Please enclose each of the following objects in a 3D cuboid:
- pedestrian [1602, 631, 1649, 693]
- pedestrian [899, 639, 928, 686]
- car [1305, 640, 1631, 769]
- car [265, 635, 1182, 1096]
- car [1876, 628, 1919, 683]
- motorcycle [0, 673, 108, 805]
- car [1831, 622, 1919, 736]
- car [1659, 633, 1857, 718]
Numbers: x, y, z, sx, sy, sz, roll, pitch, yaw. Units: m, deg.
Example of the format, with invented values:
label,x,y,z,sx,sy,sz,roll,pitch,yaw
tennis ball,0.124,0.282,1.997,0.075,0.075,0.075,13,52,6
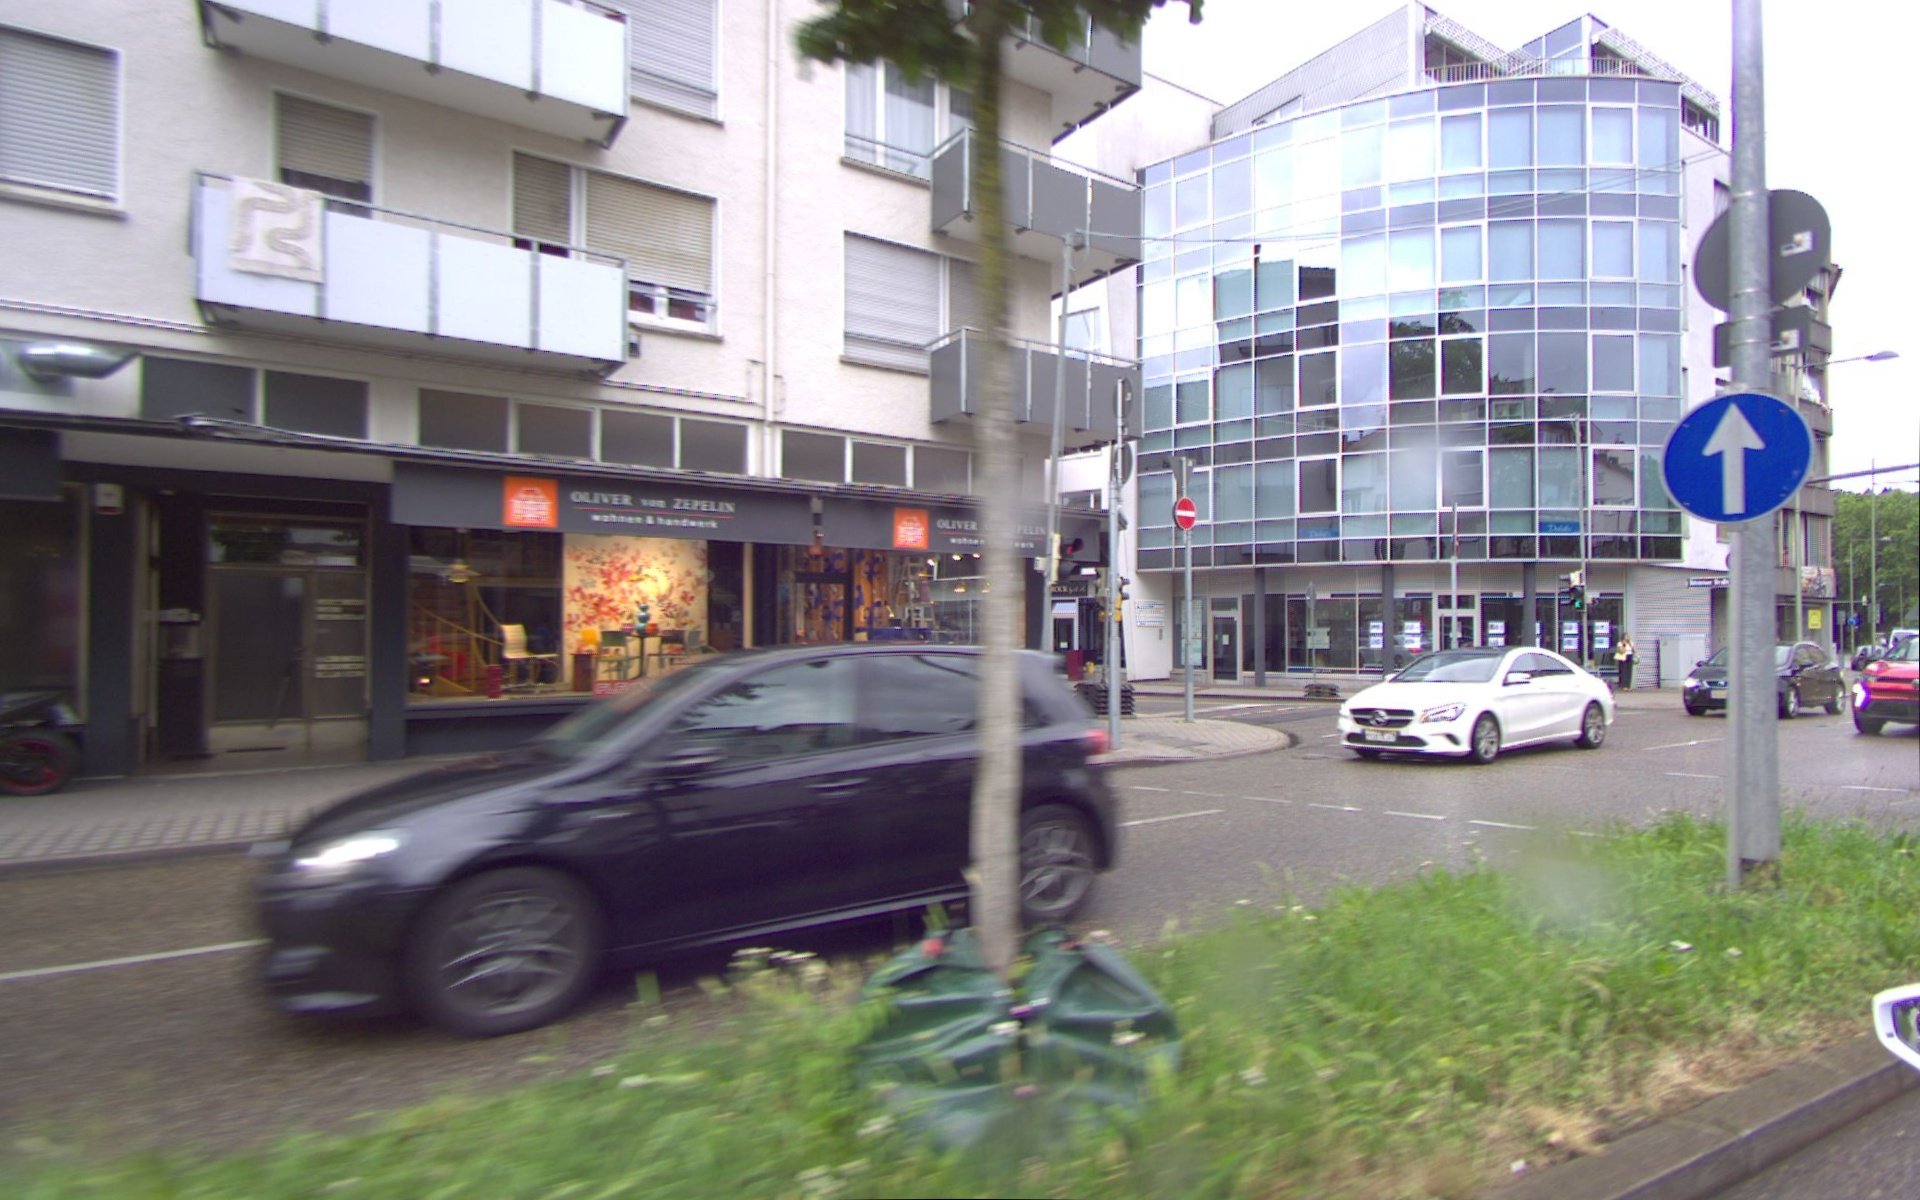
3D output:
label,x,y,z,sx,sy,sz,roll,pitch,yaw
pedestrian,18.063,1.677,27.278,0.816,1.629,0.625,0,-2,-5
pedestrian,-1.724,2.309,37.470,0.555,1.675,0.892,-2,1,39
car,6.933,1.312,13.566,4.565,1.436,1.835,1,-4,-33
car,-1.004,0.954,5.156,4.112,1.460,1.807,1,-4,-33
car,37.878,2.251,39.827,2.096,2.041,5.098,2,-2,44
motorcycle,-8.907,1.214,8.745,2.173,1.102,0.664,2,-1,-33
car,15.266,1.159,15.442,4.049,1.615,1.836,1,-3,-34
car,15.715,1.421,19.752,3.956,1.517,1.837,1,-3,-32
